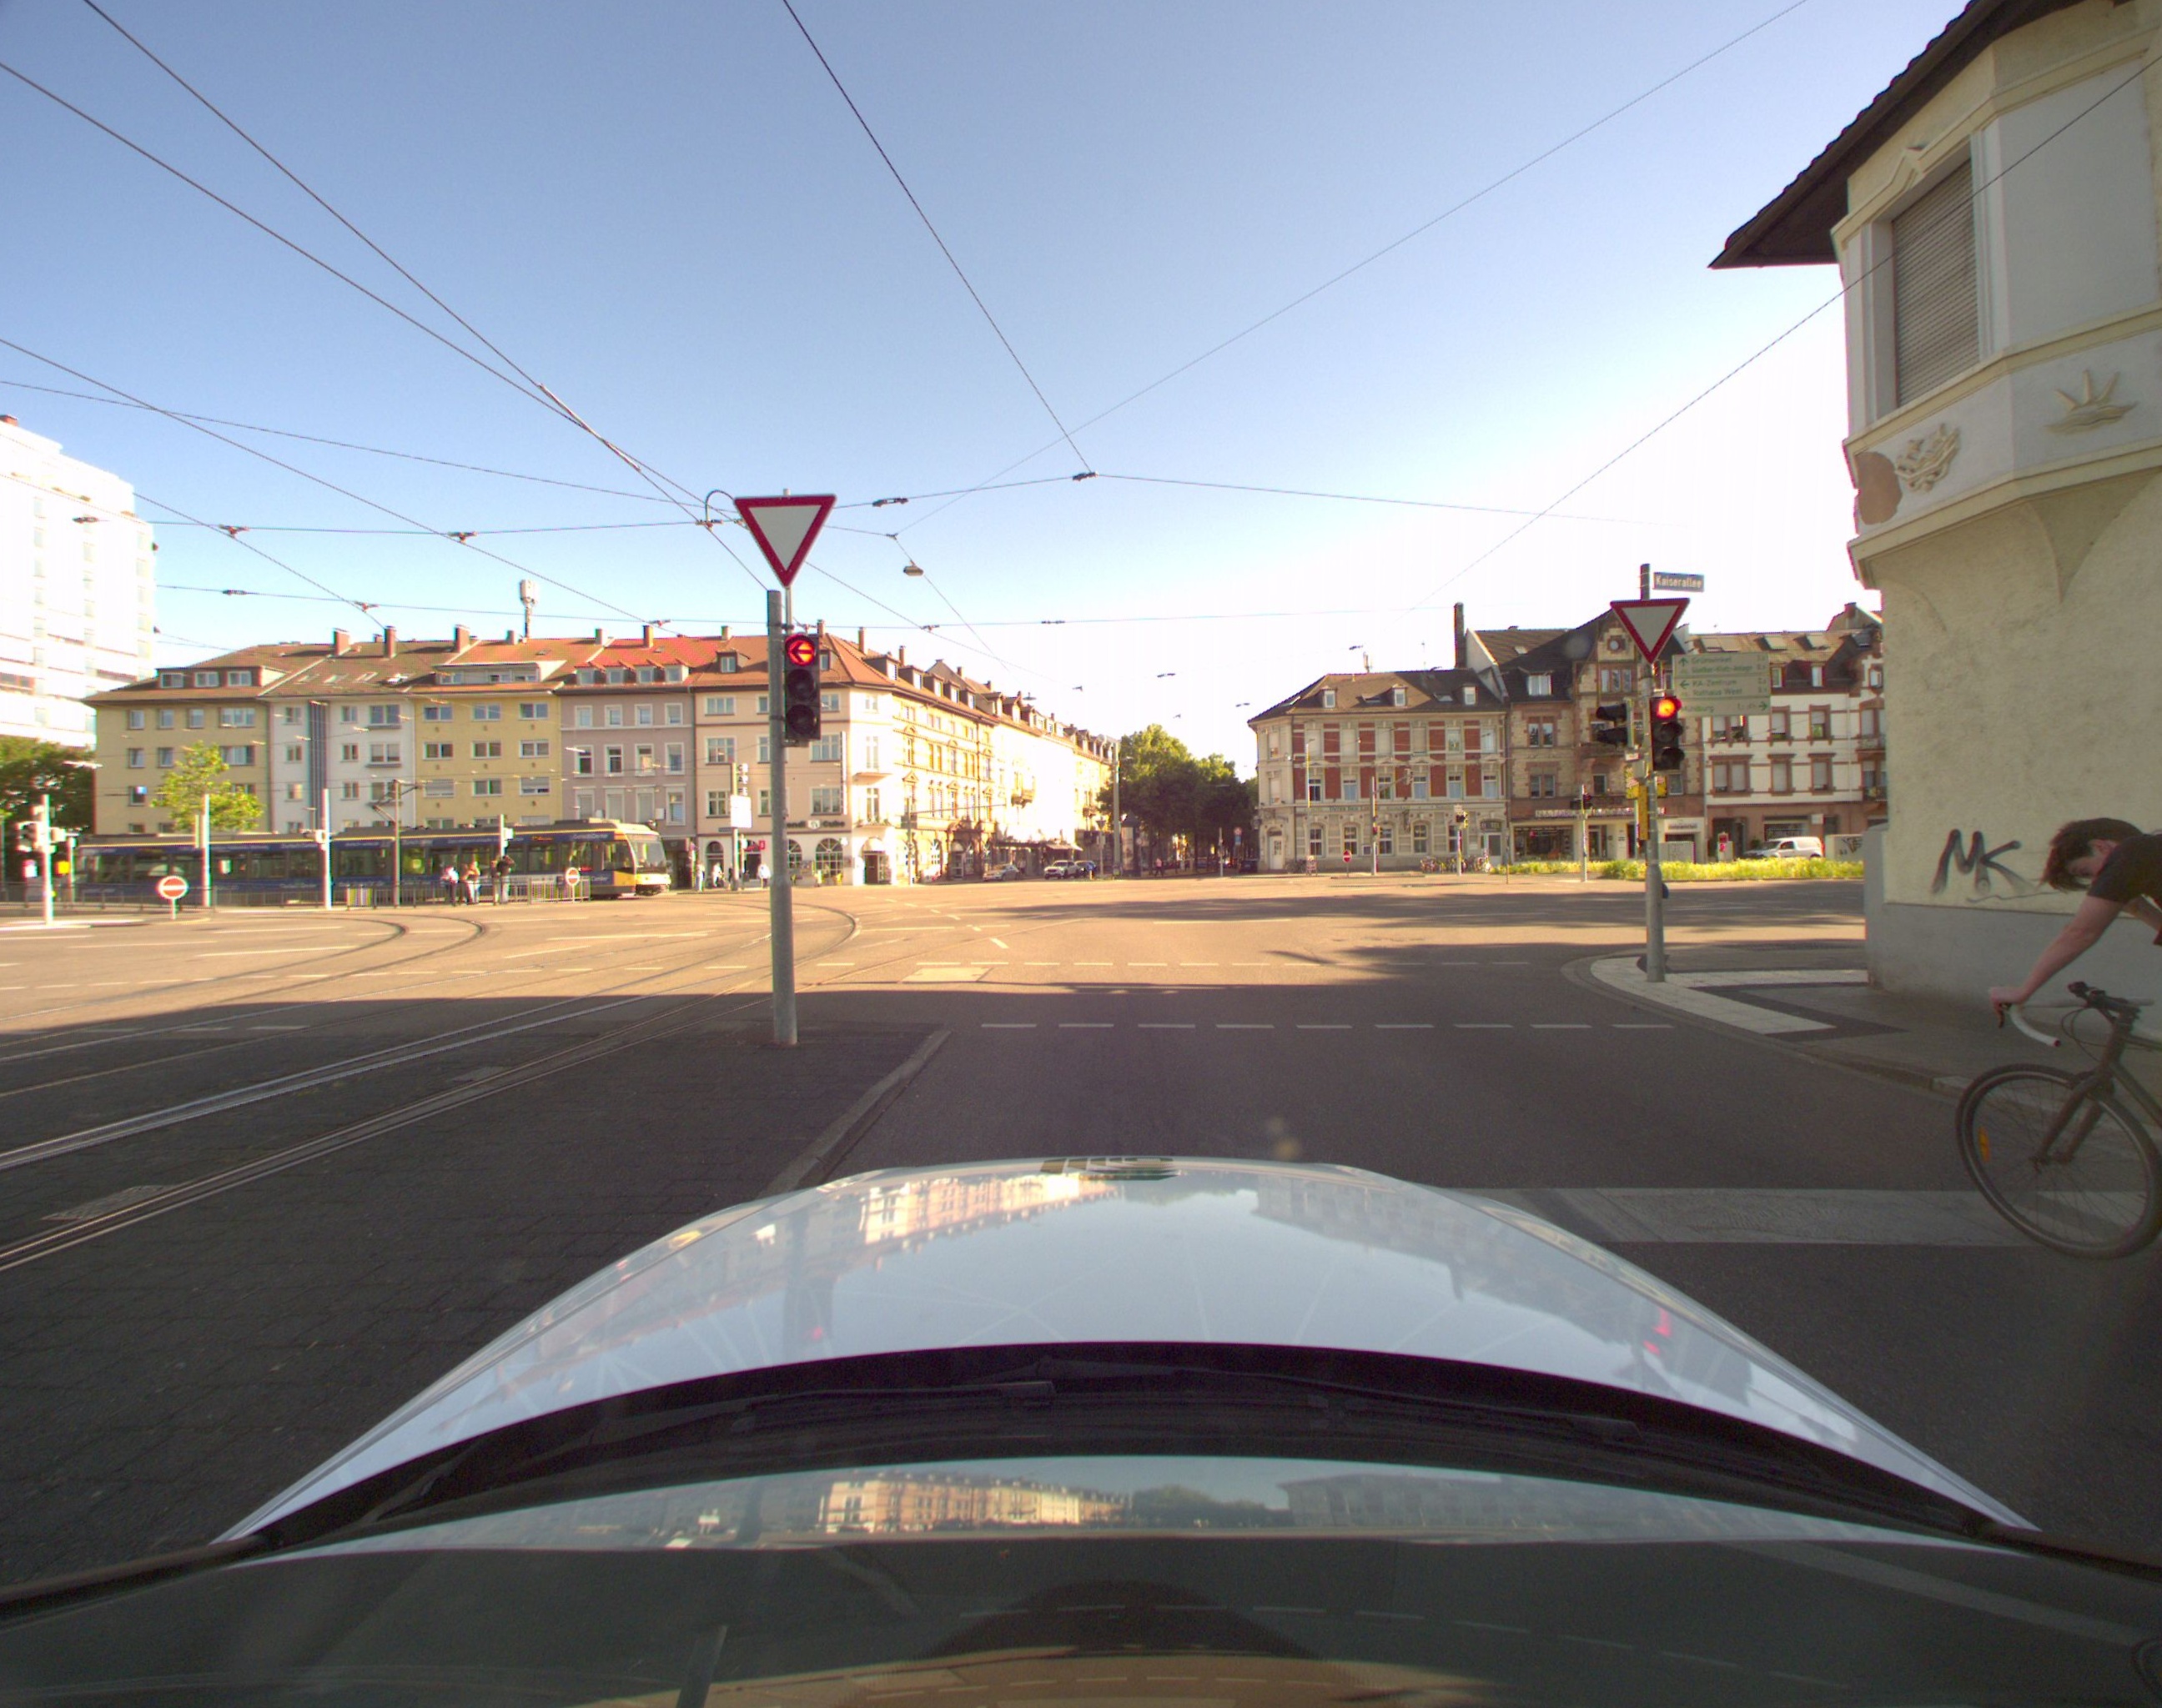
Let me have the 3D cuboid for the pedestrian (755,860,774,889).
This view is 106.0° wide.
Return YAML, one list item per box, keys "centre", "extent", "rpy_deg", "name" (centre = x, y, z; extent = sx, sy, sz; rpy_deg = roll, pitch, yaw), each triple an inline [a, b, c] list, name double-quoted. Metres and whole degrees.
- centre: [-20.472, 1.317, 52.605]
  extent: [1.012, 1.775, 0.933]
  rpy_deg: [-1, 0, -28]
  name: "pedestrian"

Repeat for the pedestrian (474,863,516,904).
- centre: [-23.236, 1.164, 32.305]
  extent: [0.997, 1.598, 0.946]
  rpy_deg: [-2, 0, 23]
  name: "pedestrian"

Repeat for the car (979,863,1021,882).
- centre: [-6.681, 1.518, 67.383]
  extent: [1.883, 1.455, 4.020]
  rpy_deg: [-2, 0, 20]
  name: "car"

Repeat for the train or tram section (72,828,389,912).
- centre: [-39.463, 0.733, 38.027]
  extent: [11.946, 3.500, 2.780]
  rpy_deg: [-1, 0, 1]
  name: "train or tram section"

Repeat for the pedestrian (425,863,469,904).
- centre: [-25.300, 1.181, 32.516]
  extent: [0.998, 1.598, 0.946]
  rpy_deg: [-2, 0, 18]
  name: "pedestrian"

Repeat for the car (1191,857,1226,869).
- centre: [18.012, 1.301, 115.124]
  extent: [4.335, 1.612, 2.012]
  rpy_deg: [-2, 0, 28]
  name: "car"

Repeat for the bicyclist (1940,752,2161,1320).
- centre: [3.604, 0.558, 2.595]
  extent: [0.559, 1.754, 1.102]
  rpy_deg: [-2, 0, 4]
  name: "bicyclist"

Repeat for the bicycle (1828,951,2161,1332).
- centre: [3.619, 0.945, 2.672]
  extent: [0.642, 1.010, 1.930]
  rpy_deg: [-2, 0, 4]
  name: "bicycle"

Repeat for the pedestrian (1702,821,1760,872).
- centre: [27.117, -0.314, 34.003]
  extent: [1.314, 2.044, 1.307]
  rpy_deg: [-2, 0, 1]
  name: "pedestrian"

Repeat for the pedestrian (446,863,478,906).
- centre: [-24.030, 1.162, 31.604]
  extent: [0.946, 1.598, 0.998]
  rpy_deg: [-1, -1, -39]
  name: "pedestrian"

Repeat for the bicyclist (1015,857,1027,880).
- centre: [-4.811, 1.127, 65.340]
  extent: [0.674, 1.820, 1.075]
  rpy_deg: [-2, 0, 14]
  name: "bicyclist"

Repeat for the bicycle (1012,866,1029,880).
- centre: [-4.815, 1.508, 65.297]
  extent: [0.675, 1.066, 2.133]
  rpy_deg: [-2, 0, 14]
  name: "bicycle"

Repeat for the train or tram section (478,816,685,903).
- centre: [-21.761, 0.261, 35.589]
  extent: [7.881, 3.500, 2.834]
  rpy_deg: [-1, 0, 13]
  name: "train or tram section"

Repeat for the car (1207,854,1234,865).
- centre: [22.830, 0.961, 133.306]
  extent: [3.948, 1.706, 2.013]
  rpy_deg: [-2, 0, 32]
  name: "car"

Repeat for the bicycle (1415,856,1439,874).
- centre: [22.502, 0.694, 52.990]
  extent: [0.802, 1.143, 2.178]
  rpy_deg: [-2, 0, 7]
  name: "bicycle"

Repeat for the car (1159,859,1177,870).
- centre: [13.912, 1.692, 130.335]
  extent: [1.822, 1.552, 4.412]
  rpy_deg: [-2, 0, 19]
  name: "car"

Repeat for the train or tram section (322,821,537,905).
- centre: [-29.659, 0.418, 37.162]
  extent: [8.379, 3.500, 2.833]
  rpy_deg: [-1, 0, 11]
  name: "train or tram section"

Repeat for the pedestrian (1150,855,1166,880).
- centre: [5.527, 0.977, 58.189]
  extent: [1.040, 1.744, 0.810]
  rpy_deg: [-1, 0, 8]
  name: "pedestrian"

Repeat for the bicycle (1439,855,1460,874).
- centre: [23.860, 0.665, 52.788]
  extent: [0.615, 1.143, 2.178]
  rpy_deg: [-2, 0, 7]
  name: "bicycle"

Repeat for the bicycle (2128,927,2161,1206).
- centre: [4.540, 0.854, 2.447]
  extent: [0.516, 1.116, 1.815]
  rpy_deg: [-2, 0, 4]
  name: "bicycle"

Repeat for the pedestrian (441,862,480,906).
- centre: [-23.523, 1.119, 30.901]
  extent: [0.943, 1.598, 1.001]
  rpy_deg: [-1, 0, -24]
  name: "pedestrian"

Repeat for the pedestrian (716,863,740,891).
- centre: [-23.001, 1.503, 53.103]
  extent: [0.998, 1.775, 0.945]
  rpy_deg: [-2, 0, 16]
  name: "pedestrian"

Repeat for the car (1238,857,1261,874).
- centre: [17.016, 1.133, 82.219]
  extent: [1.978, 1.585, 4.017]
  rpy_deg: [-2, 0, 16]
  name: "car"

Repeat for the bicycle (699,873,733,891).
- centre: [-25.460, 1.946, 56.788]
  extent: [2.083, 1.181, 0.631]
  rpy_deg: [-1, 0, 1]
  name: "bicycle"

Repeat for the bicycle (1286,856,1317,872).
- centre: [15.502, 0.717, 57.192]
  extent: [2.081, 1.124, 0.366]
  rpy_deg: [0, -1, -3]
  name: "bicycle"

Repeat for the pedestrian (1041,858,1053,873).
- centre: [-3.628, 1.211, 86.306]
  extent: [0.921, 1.535, 1.142]
  rpy_deg: [-1, 0, 16]
  name: "pedestrian"

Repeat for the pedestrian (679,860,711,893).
- centre: [-20.125, 1.151, 42.464]
  extent: [1.076, 1.685, 1.104]
  rpy_deg: [-2, 0, 1]
  name: "pedestrian"

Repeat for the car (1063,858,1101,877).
- centre: [0.118, 1.213, 74.017]
  extent: [1.977, 1.612, 4.413]
  rpy_deg: [-2, 0, 20]
  name: "car"

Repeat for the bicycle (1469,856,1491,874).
- centre: [25.758, 0.682, 52.603]
  extent: [0.606, 1.136, 2.139]
  rpy_deg: [-2, 0, 7]
  name: "bicycle"

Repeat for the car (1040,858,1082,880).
- centre: [-1.606, 1.246, 67.540]
  extent: [1.977, 1.684, 4.413]
  rpy_deg: [-2, 0, 20]
  name: "car"

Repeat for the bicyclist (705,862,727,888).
- centre: [-25.446, 1.431, 56.816]
  extent: [1.161, 1.775, 0.748]
  rpy_deg: [-1, 0, 0]
  name: "bicyclist"

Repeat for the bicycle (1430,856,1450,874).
- centre: [23.281, 0.684, 52.841]
  extent: [0.615, 1.143, 2.178]
  rpy_deg: [-2, 0, 7]
  name: "bicycle"

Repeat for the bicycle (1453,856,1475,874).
- centre: [24.781, 0.703, 52.693]
  extent: [0.615, 1.143, 2.178]
  rpy_deg: [-2, 0, 7]
  name: "bicycle"

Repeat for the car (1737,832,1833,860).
- centre: [45.361, -0.490, 52.559]
  extent: [4.317, 1.640, 2.152]
  rpy_deg: [-2, 0, 1]
  name: "car"

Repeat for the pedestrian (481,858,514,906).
- centre: [-22.278, 1.043, 31.098]
  extent: [0.946, 1.775, 0.998]
  rpy_deg: [-1, -1, -38]
  name: "pedestrian"

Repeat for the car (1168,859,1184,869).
- centre: [15.829, 1.712, 136.170]
  extent: [1.750, 1.549, 4.411]
  rpy_deg: [-2, 0, 18]
  name: "car"

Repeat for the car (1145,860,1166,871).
- centre: [11.254, 1.724, 122.603]
  extent: [1.977, 1.612, 4.413]
  rpy_deg: [-2, 0, 20]
  name: "car"
